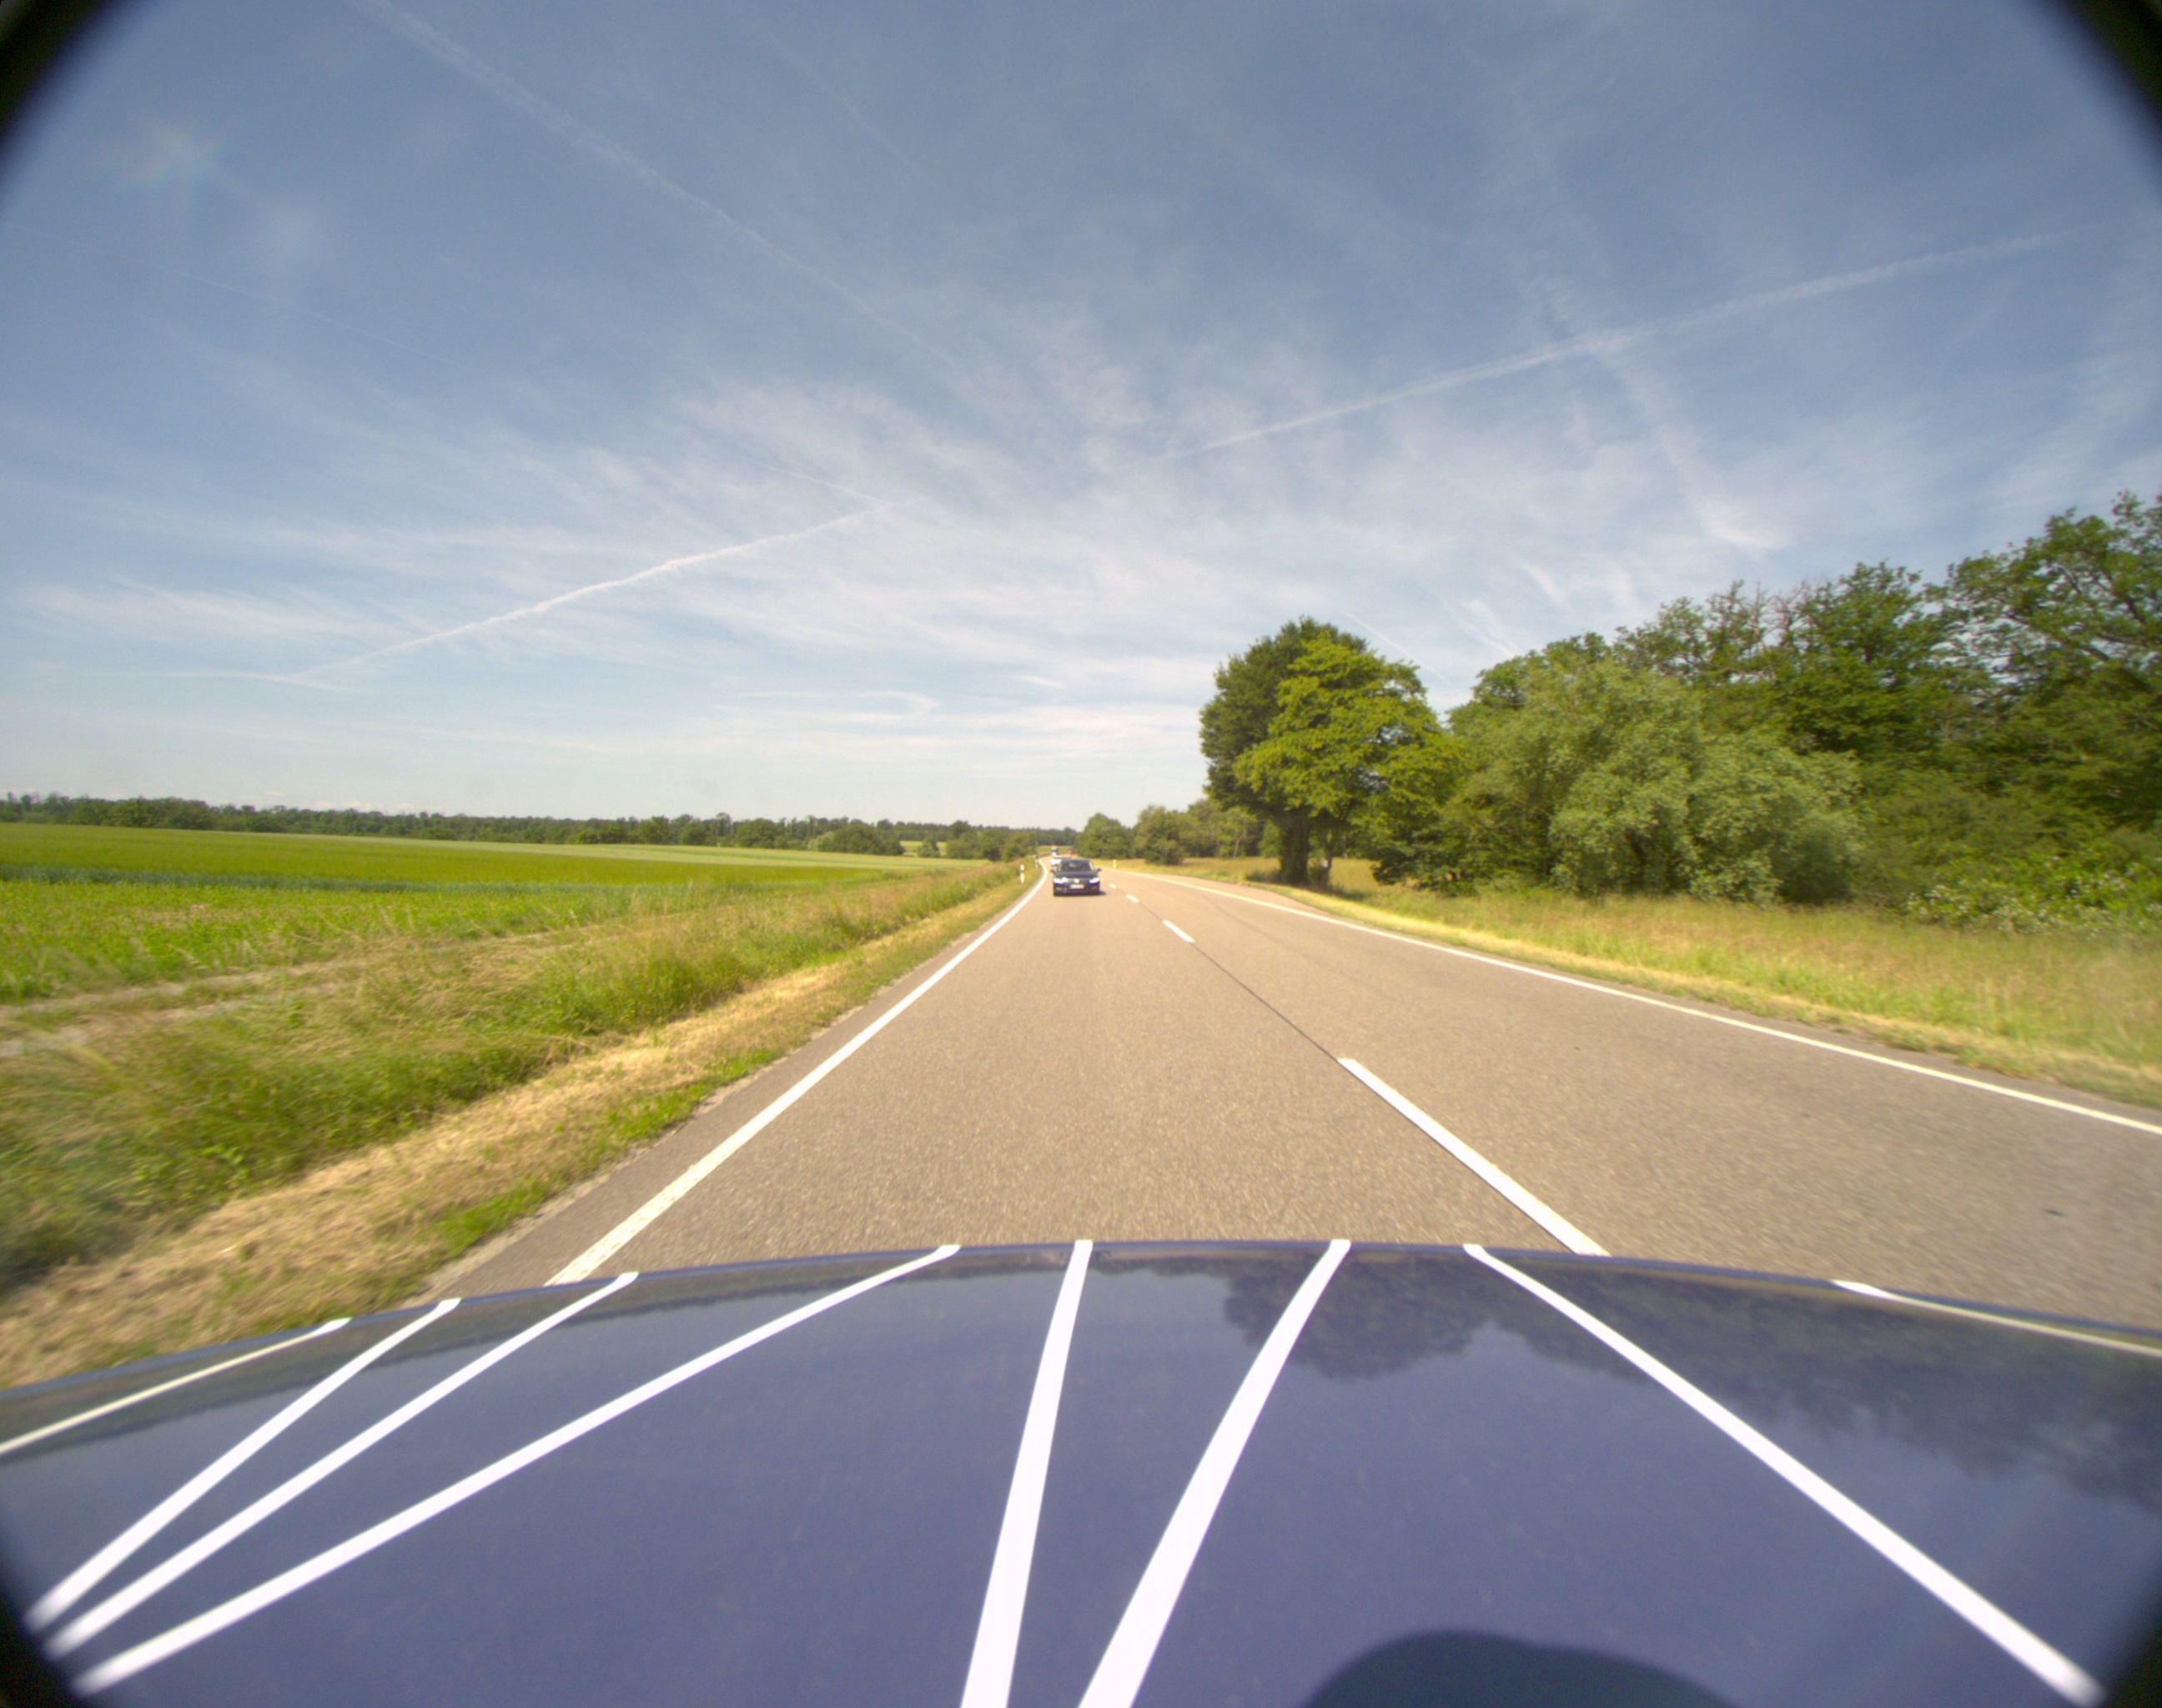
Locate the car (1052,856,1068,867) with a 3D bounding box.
[{"bbox_3d":[-2.965,0.999,106.266,1.929,1.501,4.290,1,0,-4],"label":"car"}]

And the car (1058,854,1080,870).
[{"bbox_3d":[-1.217,0.779,76.699,1.929,1.501,4.289,0,0,-5],"label":"car"}]

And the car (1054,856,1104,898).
[{"bbox_3d":[-0.153,0.865,30.987,1.822,1.501,4.499,-2,0,-3],"label":"car"}]
